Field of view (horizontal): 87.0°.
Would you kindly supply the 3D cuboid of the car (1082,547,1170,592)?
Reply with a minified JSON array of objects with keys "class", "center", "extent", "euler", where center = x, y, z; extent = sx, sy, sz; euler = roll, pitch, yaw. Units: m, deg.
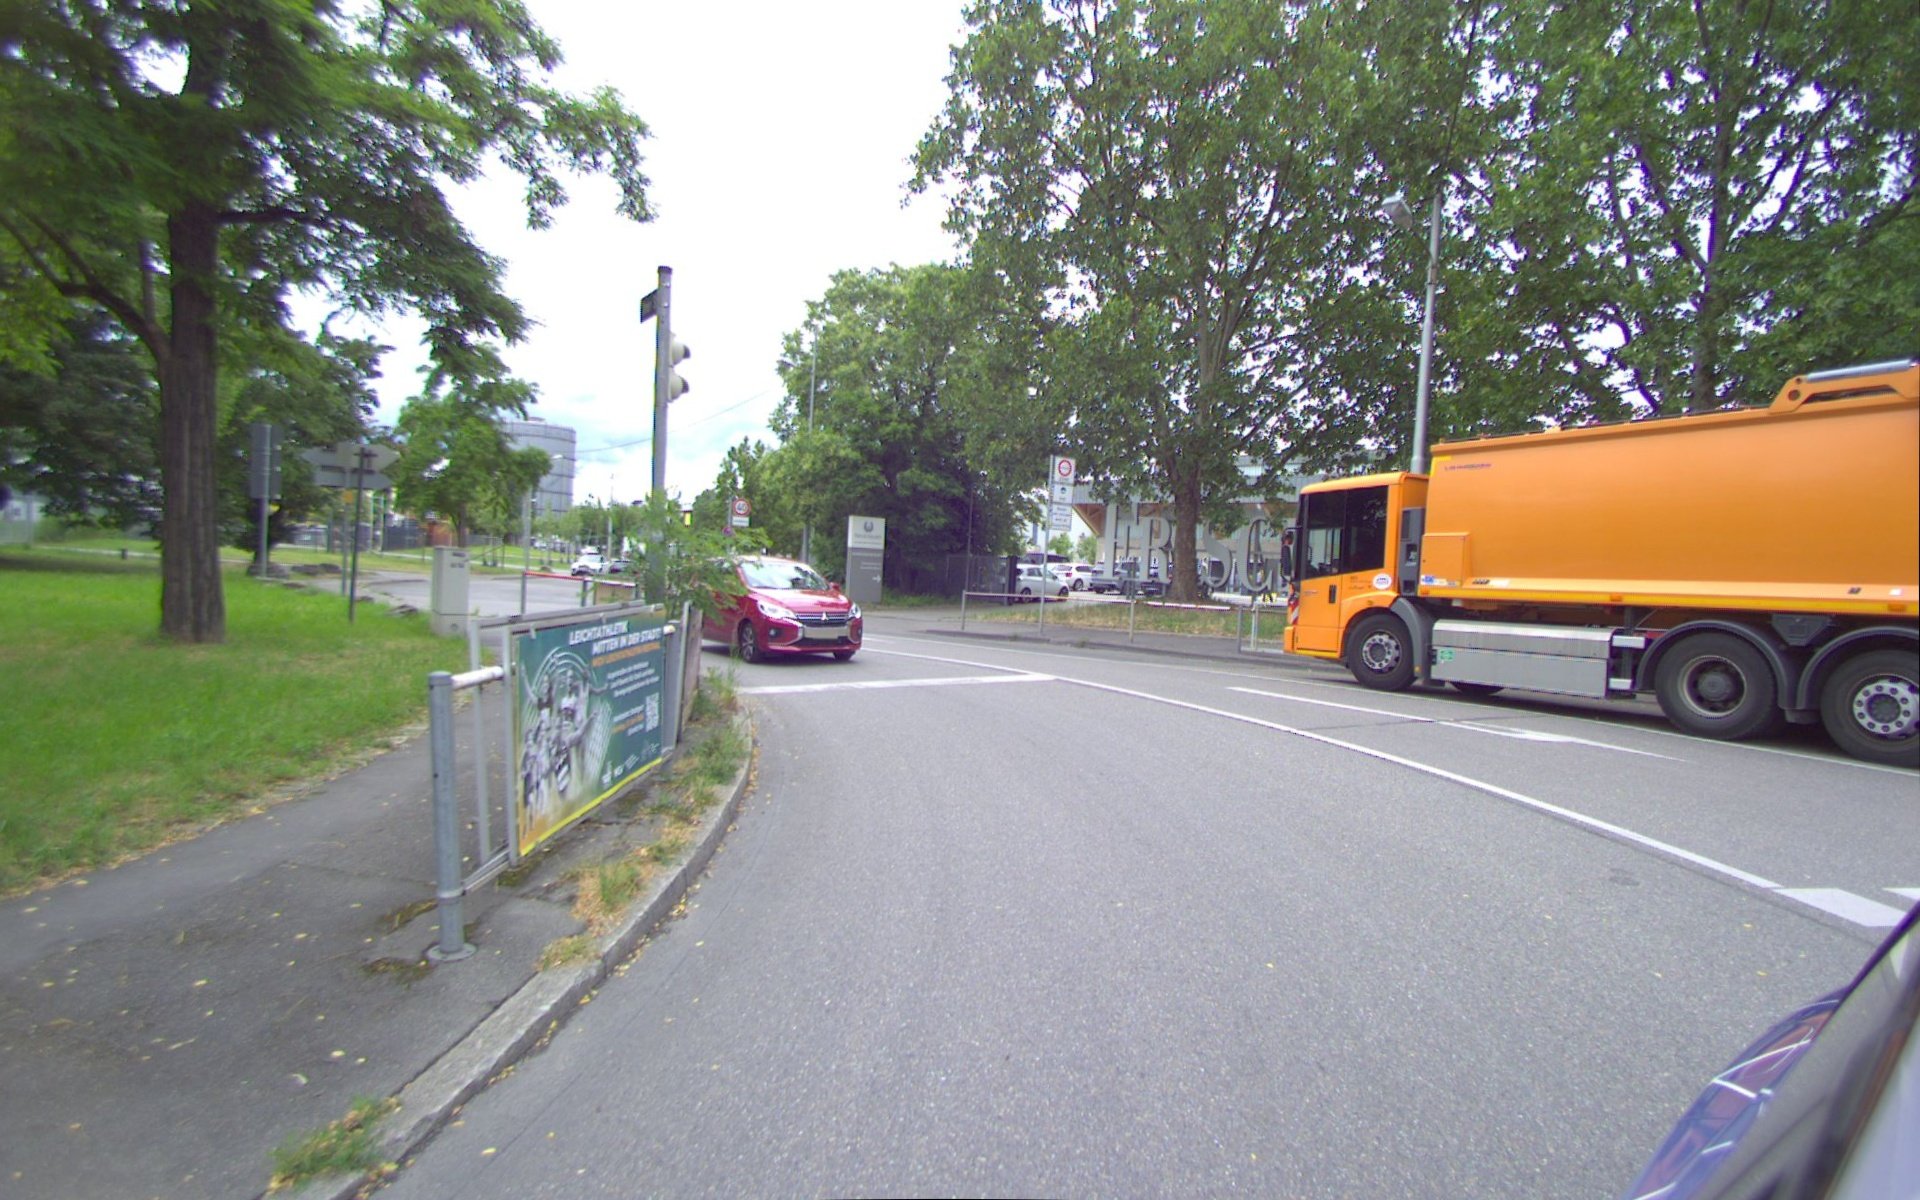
[{"class":"car","center":[8.533,-1.544,51.835],"extent":[4.560,2.038,1.997],"euler":[2,2,-42]}]

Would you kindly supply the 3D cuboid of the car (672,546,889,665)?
[{"class":"car","center":[-2.785,-0.010,15.026],"extent":[1.700,1.483,3.837],"euler":[0,3,-35]}]

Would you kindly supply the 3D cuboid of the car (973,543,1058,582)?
[{"class":"car","center":[3.344,-2.227,60.387],"extent":[5.014,2.023,1.997],"euler":[2,2,-42]}]

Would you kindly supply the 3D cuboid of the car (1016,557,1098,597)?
[{"class":"car","center":[5.541,-1.275,57.306],"extent":[4.560,2.038,1.997],"euler":[2,2,-42]}]

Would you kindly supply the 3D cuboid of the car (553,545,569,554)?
[{"class":"car","center":[-75.650,-9.537,191.724],"extent":[2.008,1.555,3.944],"euler":[4,1,-34]}]

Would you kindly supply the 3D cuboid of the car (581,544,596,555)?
[{"class":"car","center":[-63.010,-8.555,171.580],"extent":[2.005,1.555,3.950],"euler":[4,1,-26]}]

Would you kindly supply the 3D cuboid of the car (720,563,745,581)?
[{"class":"car","center":[-19.756,-2.469,88.097],"extent":[1.682,1.424,3.376],"euler":[3,1,-6]}]

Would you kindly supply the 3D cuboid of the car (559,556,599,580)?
[{"class":"car","center":[-26.030,-2.218,69.194],"extent":[2.005,1.554,3.952],"euler":[0,4,-12]}]

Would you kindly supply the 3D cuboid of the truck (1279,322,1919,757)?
[{"class":"truck","center":[8.248,-0.523,10.528],"extent":[2.740,3.570,10.439],"euler":[2,1,-27]}]

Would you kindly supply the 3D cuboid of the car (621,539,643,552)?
[{"class":"car","center":[-43.164,-7.195,133.137],"extent":[2.006,1.555,3.949],"euler":[2,2,-29]}]

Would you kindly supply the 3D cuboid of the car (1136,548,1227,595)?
[{"class":"car","center":[10.875,-1.384,49.543],"extent":[4.560,2.038,1.997],"euler":[2,2,-42]}]

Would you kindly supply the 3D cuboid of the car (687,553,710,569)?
[{"class":"car","center":[-26.866,-3.999,103.807],"extent":[2.005,1.554,3.952],"euler":[-1,4,-19]}]

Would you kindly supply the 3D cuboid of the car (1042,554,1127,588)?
[{"class":"car","center":[6.767,-1.546,54.655],"extent":[4.560,1.577,1.997],"euler":[2,2,-42]}]

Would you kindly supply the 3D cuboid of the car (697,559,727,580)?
[{"class":"car","center":[-18.905,-2.338,77.247],"extent":[1.682,1.424,3.376],"euler":[3,1,-6]}]

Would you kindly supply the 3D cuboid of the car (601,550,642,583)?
[{"class":"car","center":[-19.154,-1.885,57.348],"extent":[1.811,1.656,4.194],"euler":[4,0,-15]}]

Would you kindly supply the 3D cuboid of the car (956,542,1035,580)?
[{"class":"car","center":[2.219,-2.418,62.714],"extent":[4.740,2.038,1.997],"euler":[2,2,-42]}]
